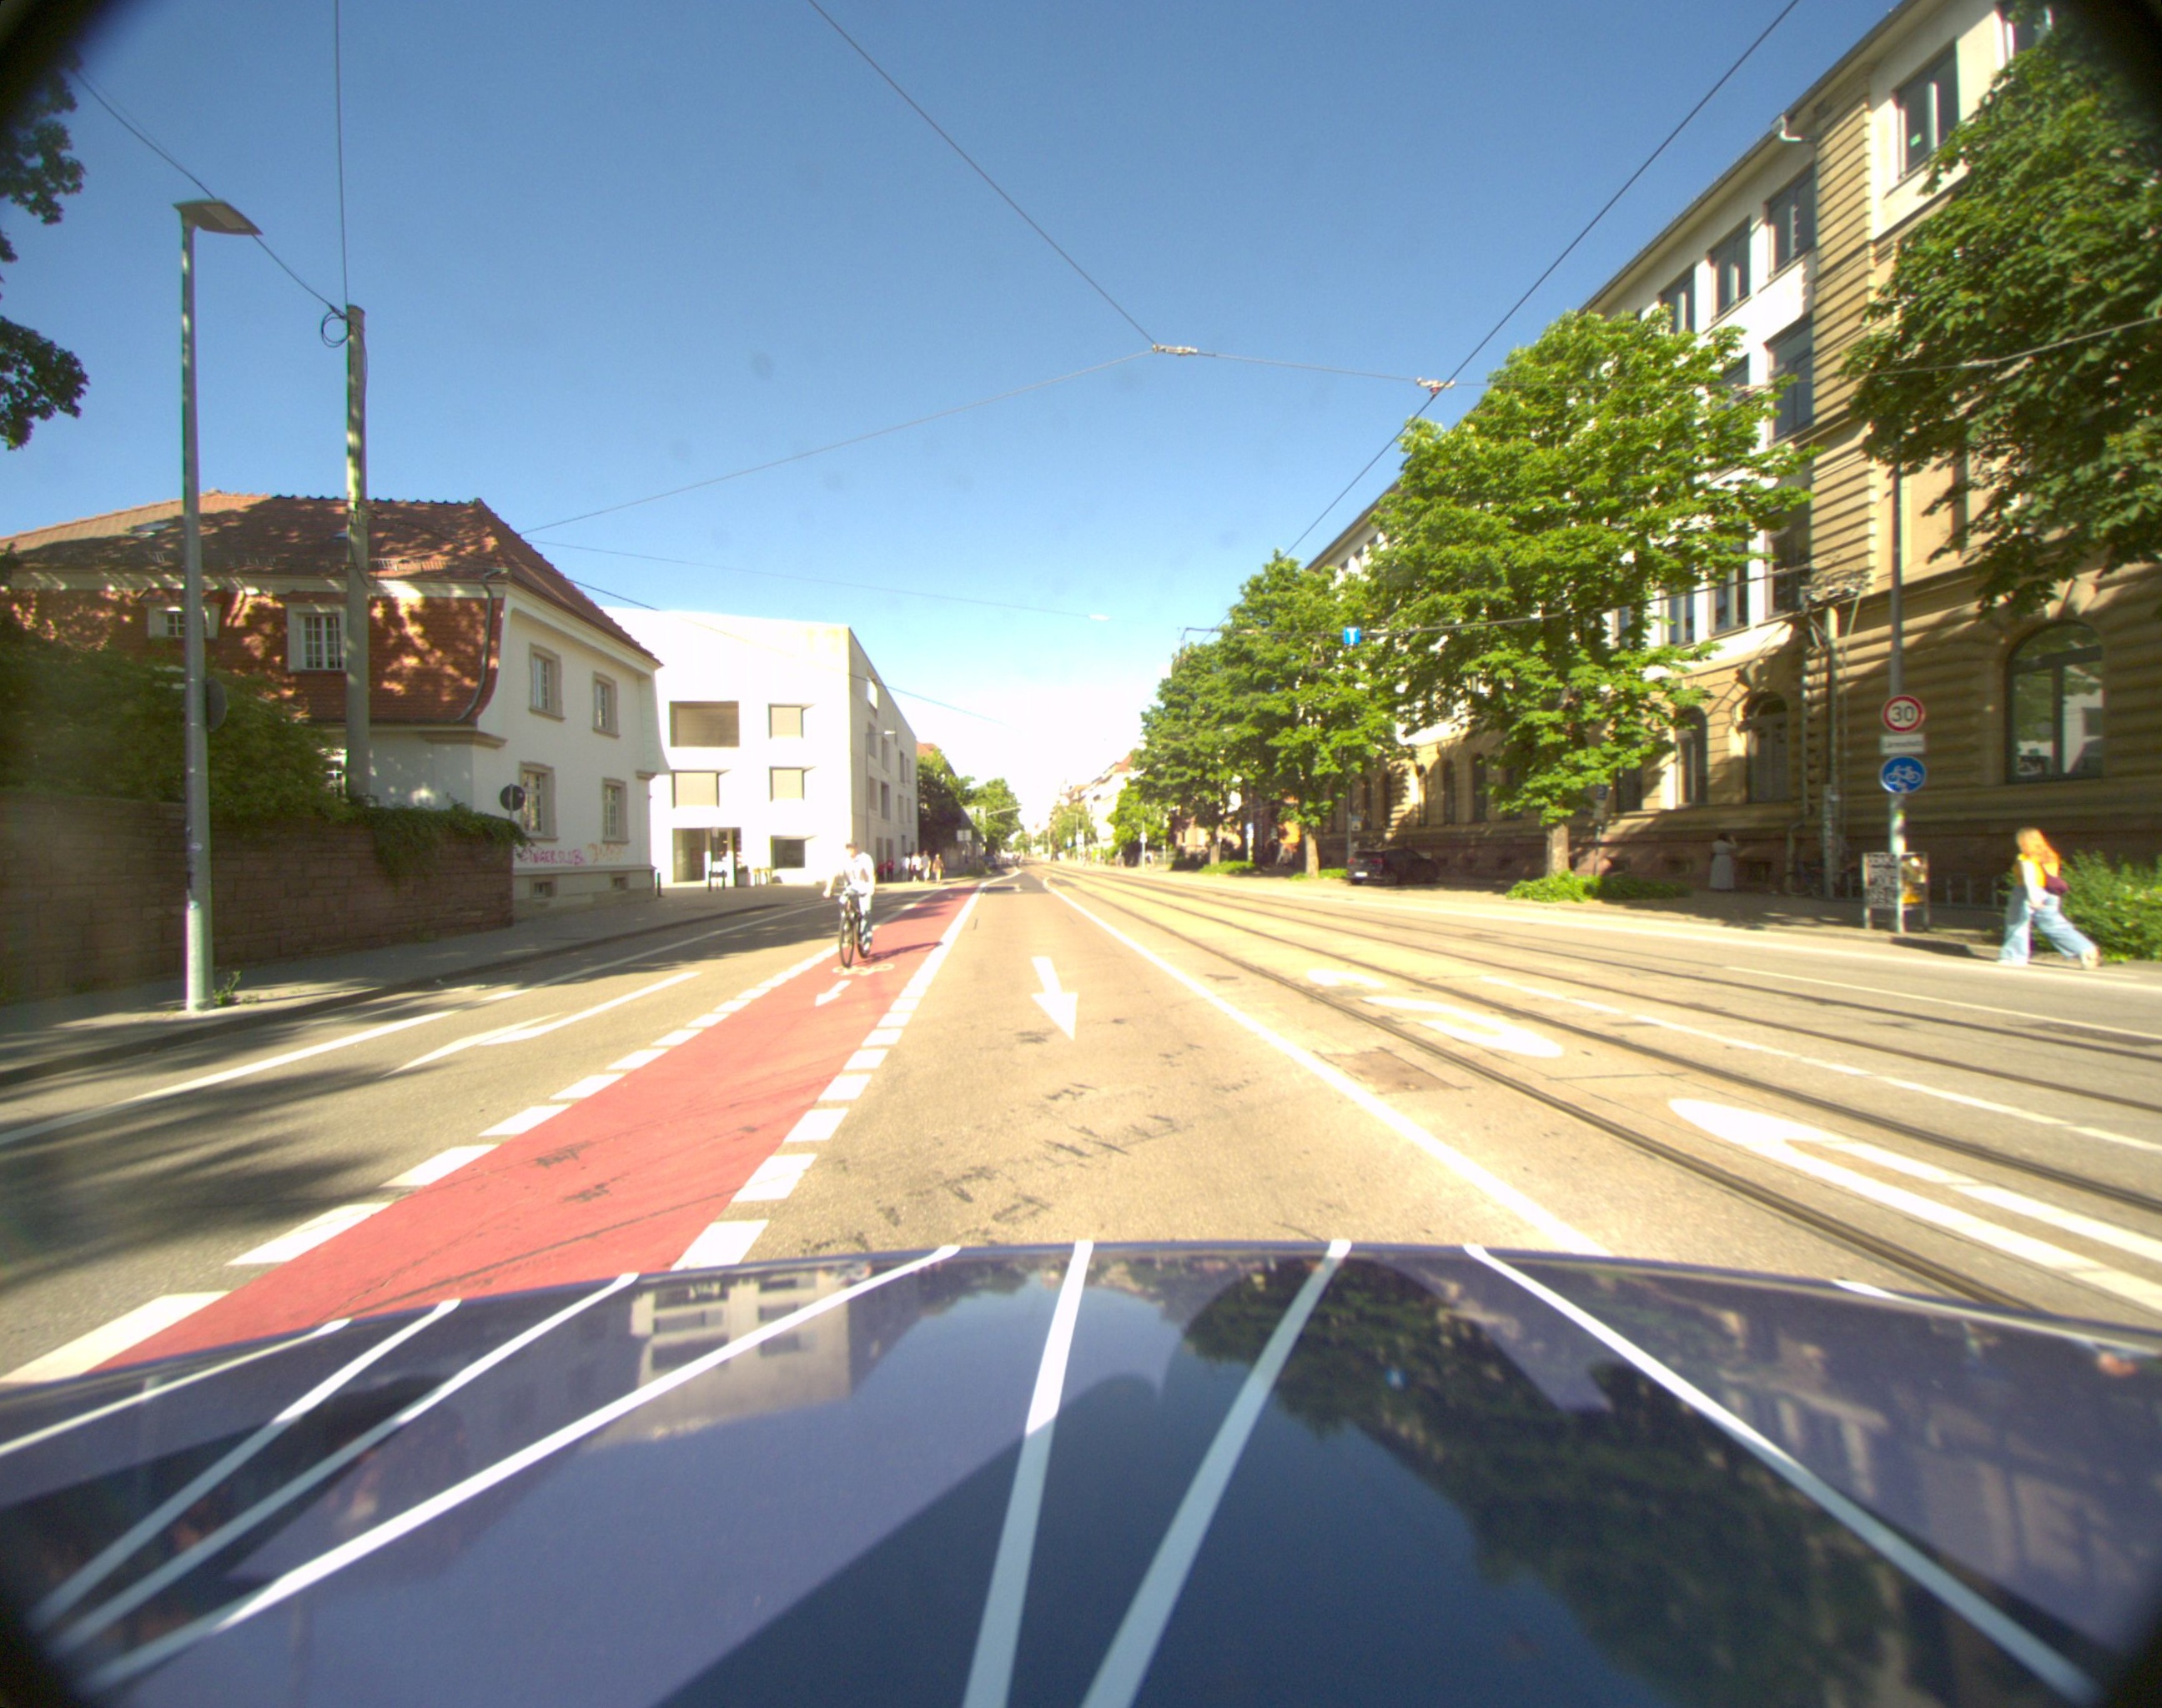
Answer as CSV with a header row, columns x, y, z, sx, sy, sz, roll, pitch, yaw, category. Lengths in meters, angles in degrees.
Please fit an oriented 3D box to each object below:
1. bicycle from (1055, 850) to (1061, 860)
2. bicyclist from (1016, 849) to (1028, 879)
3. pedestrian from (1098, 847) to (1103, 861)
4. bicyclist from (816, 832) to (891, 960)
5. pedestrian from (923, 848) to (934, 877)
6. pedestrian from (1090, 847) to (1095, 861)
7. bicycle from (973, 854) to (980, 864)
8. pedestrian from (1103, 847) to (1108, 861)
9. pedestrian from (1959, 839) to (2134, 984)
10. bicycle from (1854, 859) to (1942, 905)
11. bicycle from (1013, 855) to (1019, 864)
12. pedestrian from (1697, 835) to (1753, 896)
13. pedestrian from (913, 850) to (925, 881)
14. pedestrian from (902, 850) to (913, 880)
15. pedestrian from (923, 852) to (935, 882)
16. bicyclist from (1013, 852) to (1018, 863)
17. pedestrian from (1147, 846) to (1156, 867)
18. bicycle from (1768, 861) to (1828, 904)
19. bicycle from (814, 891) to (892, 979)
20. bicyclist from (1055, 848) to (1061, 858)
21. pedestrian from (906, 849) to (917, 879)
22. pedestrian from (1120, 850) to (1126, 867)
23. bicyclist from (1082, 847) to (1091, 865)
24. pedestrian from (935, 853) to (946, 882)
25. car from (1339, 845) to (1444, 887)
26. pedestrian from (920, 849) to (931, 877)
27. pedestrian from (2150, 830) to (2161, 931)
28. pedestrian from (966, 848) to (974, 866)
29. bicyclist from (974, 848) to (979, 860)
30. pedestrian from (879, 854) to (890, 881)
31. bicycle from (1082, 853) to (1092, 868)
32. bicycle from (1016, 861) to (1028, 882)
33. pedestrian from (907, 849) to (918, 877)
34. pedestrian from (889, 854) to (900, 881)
x,y,z,sx,sy,sz,roll,pitch,yaw,category
-4.296,0.179,140.893,1.003,1.672,2.982,-2,1,-5,bicycle
-5.968,0.966,76.915,1.004,2.959,1.473,-2,2,-4,bicyclist
2.573,-0.029,101.396,0.579,1.845,0.684,-1,1,-5,pedestrian
-3.309,0.587,11.142,0.751,1.765,1.014,-2,1,-2,bicyclist
-9.499,0.519,47.451,0.588,1.795,0.582,-1,1,-6,pedestrian
1.592,-0.004,101.880,0.579,1.845,0.684,-1,1,-5,pedestrian
-18.735,0.811,136.236,0.830,1.694,2.170,-2,2,-3,bicycle
3.235,-0.057,101.491,0.579,1.845,0.684,-1,1,-5,pedestrian
11.694,0.657,9.244,0.772,1.660,1.033,0,1,-7,pedestrian
17.720,0.589,16.508,0.398,0.898,1.360,-2,2,-3,bicycle
-9.324,0.808,108.815,0.665,1.146,1.671,-2,2,-1,bicycle
17.459,0.290,20.616,0.858,1.558,0.673,-5,2,0,pedestrian
-9.656,0.694,45.277,0.588,1.795,0.545,-1,1,-6,pedestrian
-10.324,0.661,45.231,0.588,1.795,0.545,-1,1,-6,pedestrian
-9.006,0.759,45.030,0.588,1.795,0.520,-1,1,-6,pedestrian
-9.335,0.485,108.785,0.665,1.453,0.622,-2,2,-1,bicyclist
6.384,0.229,69.009,0.728,1.845,0.654,-1,1,-3,pedestrian
17.036,0.658,18.085,0.343,0.951,1.101,-2,2,-3,bicycle
-3.299,1.143,11.172,0.612,1.071,1.829,-2,1,-2,bicycle
-4.313,-0.193,140.875,1.003,1.712,0.984,-2,2,-5,bicyclist
-10.414,0.596,46.746,0.588,1.795,0.582,-1,1,-6,pedestrian
4.807,0.528,86.133,0.579,1.845,0.654,-1,1,-5,pedestrian
0.717,0.239,94.579,1.003,2.255,1.020,-2,2,-3,bicyclist
-8.407,0.787,45.353,0.588,1.717,0.520,-1,1,-6,pedestrian
12.661,0.456,30.935,4.117,1.565,1.916,-1,1,-32,car
-10.055,0.601,49.193,0.588,1.795,0.545,-1,1,-6,pedestrian
16.907,0.408,11.487,0.579,1.553,0.654,-1,1,-5,pedestrian
-10.888,0.307,74.628,0.678,1.728,0.931,-1,1,-3,pedestrian
-18.762,-0.025,136.173,0.813,2.194,0.984,-2,2,-3,bicyclist
-11.517,0.787,44.475,0.534,1.557,0.520,-1,1,-6,pedestrian
0.735,0.818,94.643,1.003,1.672,2.983,-2,1,-2,bicycle
-5.940,1.721,76.862,1.004,1.876,3.892,-2,1,-4,bicycle
-10.890,0.599,49.062,0.588,1.795,0.545,-1,1,-6,pedestrian
-10.901,0.767,44.509,0.534,1.557,0.520,-1,1,-6,pedestrian
